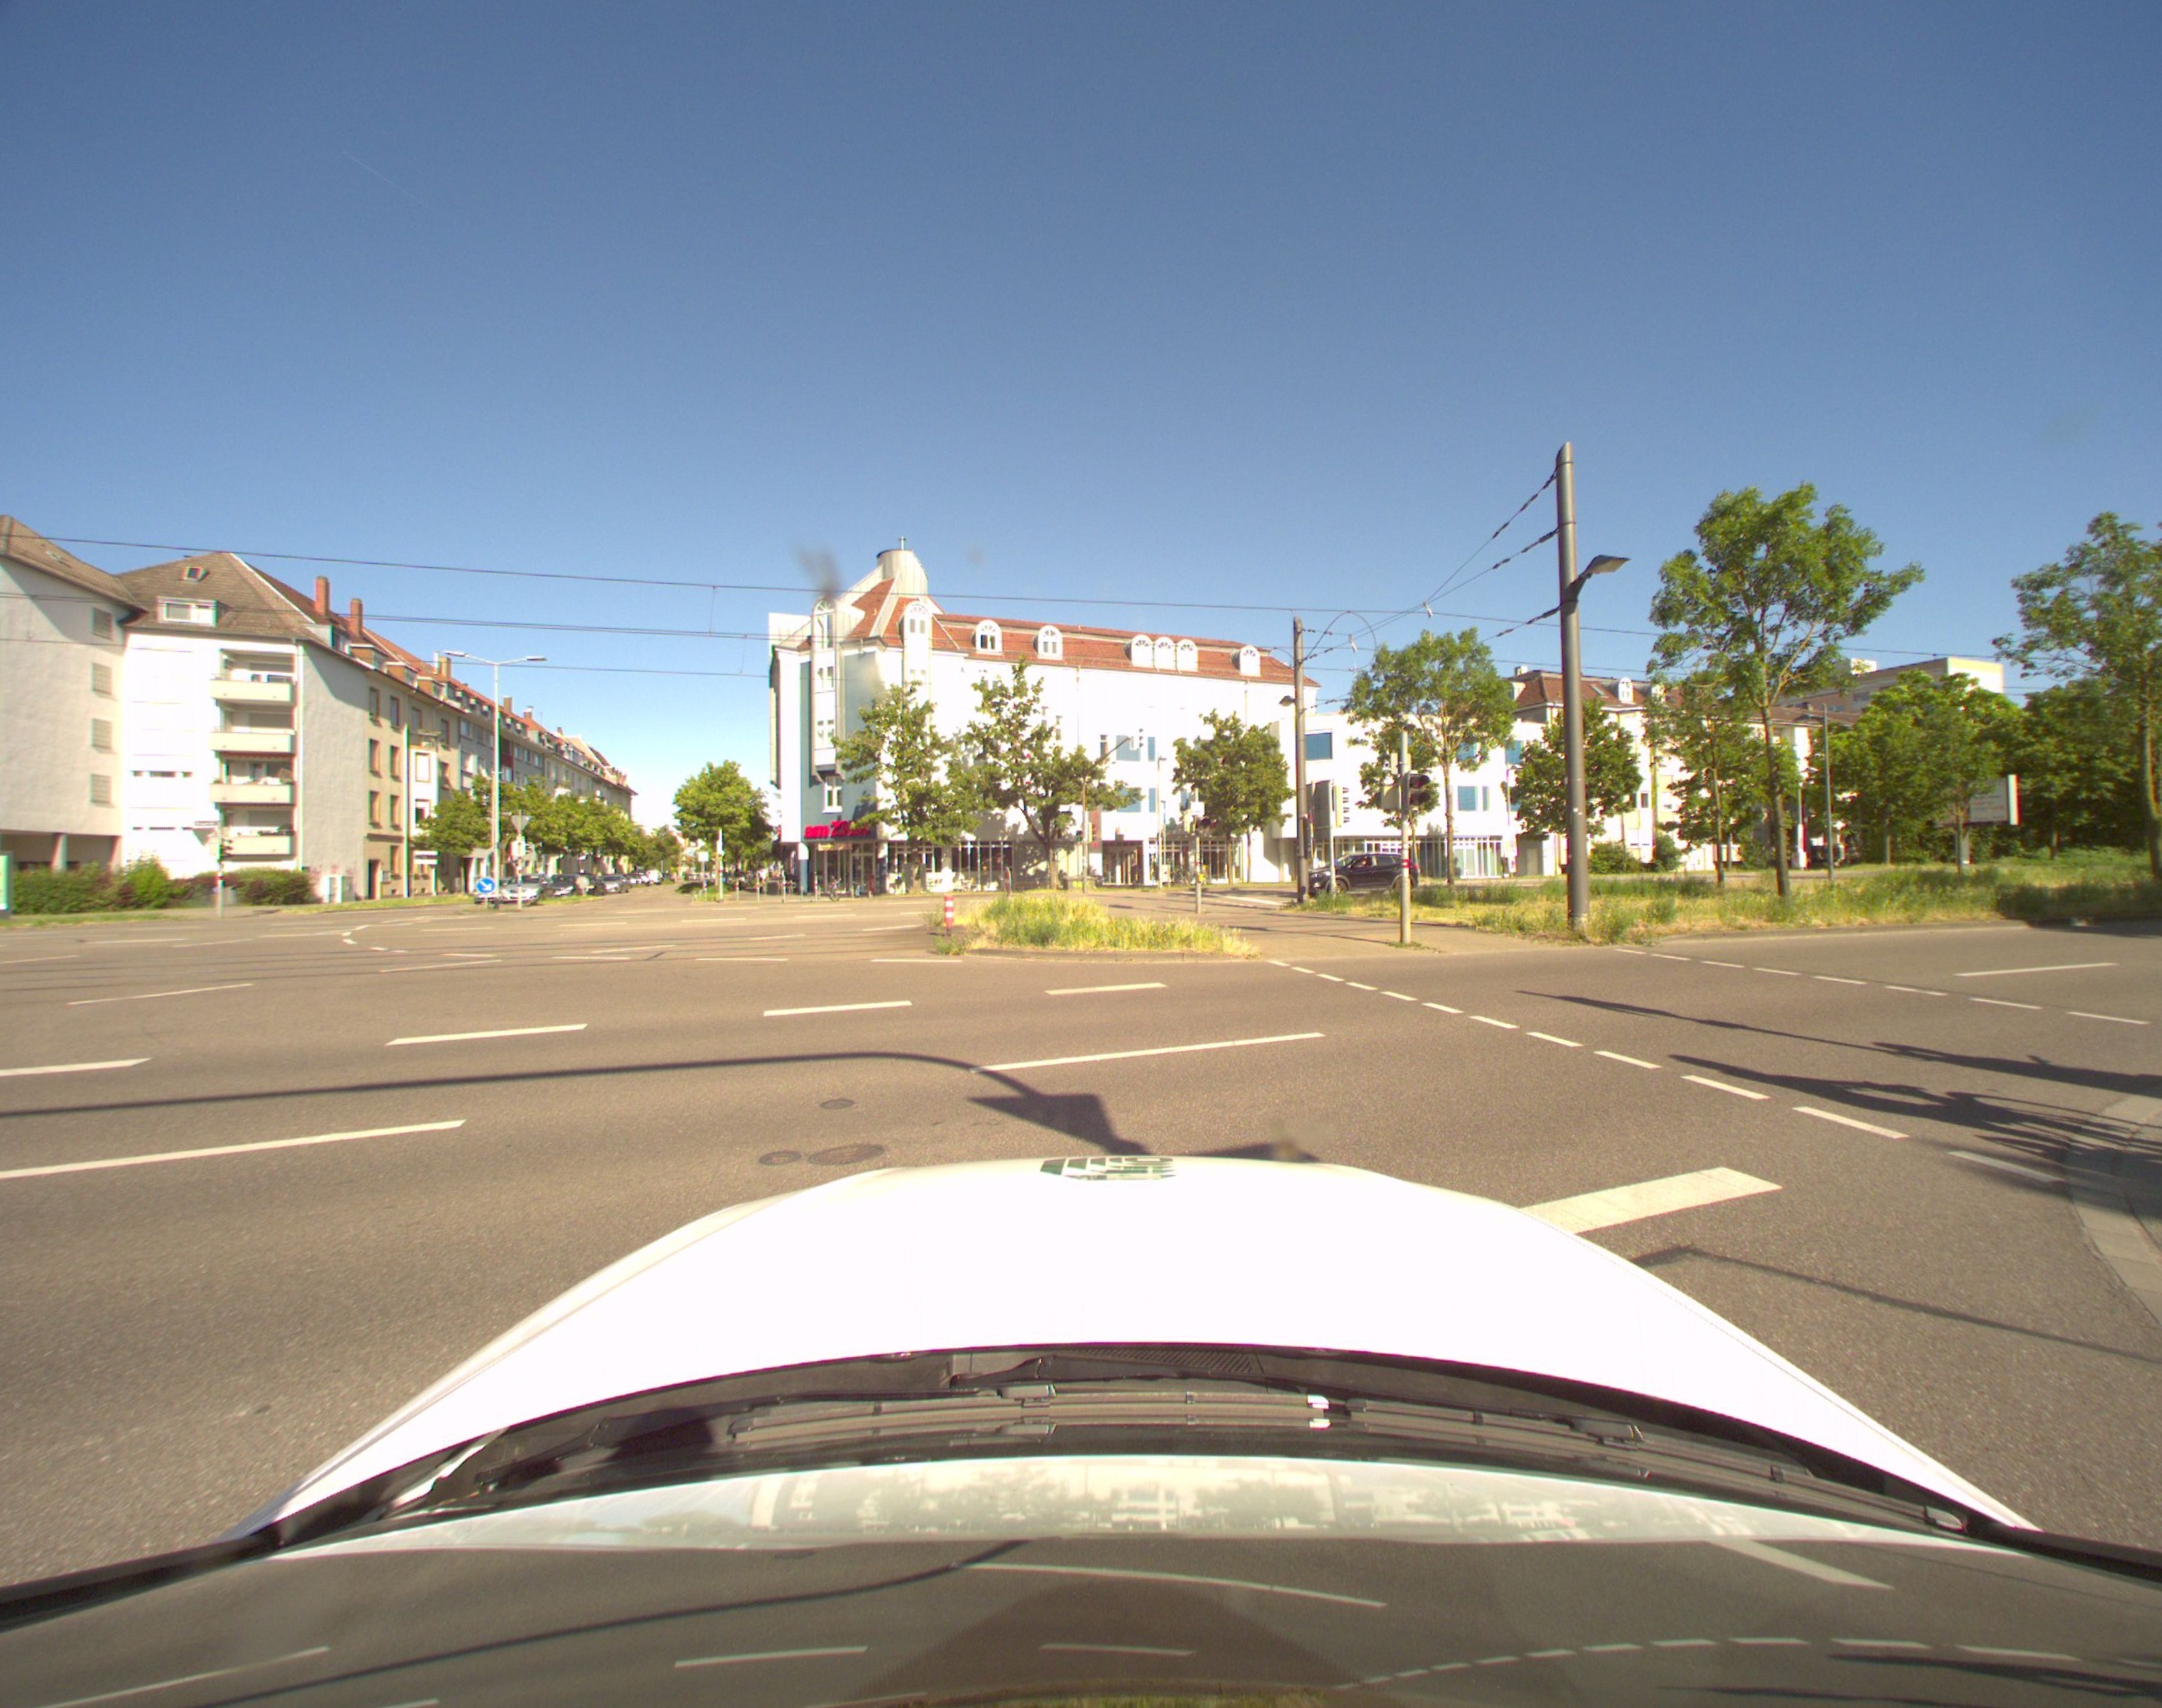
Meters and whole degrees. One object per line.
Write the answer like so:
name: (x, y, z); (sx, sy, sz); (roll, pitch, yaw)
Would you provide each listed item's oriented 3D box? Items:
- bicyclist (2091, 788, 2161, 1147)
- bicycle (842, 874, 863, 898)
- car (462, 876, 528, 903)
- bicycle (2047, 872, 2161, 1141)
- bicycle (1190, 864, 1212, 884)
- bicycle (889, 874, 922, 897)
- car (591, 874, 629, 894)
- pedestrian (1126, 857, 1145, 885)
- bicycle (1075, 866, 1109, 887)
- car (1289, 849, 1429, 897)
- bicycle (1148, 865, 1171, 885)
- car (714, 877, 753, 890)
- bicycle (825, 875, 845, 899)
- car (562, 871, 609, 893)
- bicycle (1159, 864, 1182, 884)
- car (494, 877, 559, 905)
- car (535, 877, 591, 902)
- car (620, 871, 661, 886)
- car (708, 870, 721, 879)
bicyclist: (5.767, 0.567, 3.794); (0.784, 1.824, 1.140); (-2, -1, 18)
bicycle: (-10.186, 1.431, 36.283); (0.475, 1.027, 1.500); (-1, -1, -32)
car: (-33.059, 2.003, 46.102); (1.692, 1.432, 4.373); (2, -2, -18)
bicycle: (5.736, 0.777, 3.652); (0.784, 1.348, 2.088); (-2, -1, 18)
bicycle: (7.406, 1.224, 50.328); (0.562, 1.182, 1.858); (-1, -1, -19)
bicycle: (-8.359, 1.491, 38.815); (1.511, 1.027, 0.471); (-1, -1, -10)
car: (-36.997, 2.344, 64.074); (1.693, 1.432, 4.371); (2, -2, -19)
pedestrian: (3.361, 1.048, 50.334); (0.993, 1.723, 0.649); (-1, -1, -22)
bicycle: (0.636, 1.289, 46.647); (1.872, 1.182, 0.557); (-1, -1, -25)
car: (10.263, 0.676, 30.186); (4.503, 1.609, 1.992); (-1, -1, -12)
bicycle: (4.765, 1.252, 49.446); (0.562, 1.182, 1.856); (-1, -1, -22)
car: (-35.307, 3.003, 82.723); (3.582, 1.223, 1.717); (0, -2, -23)
bicycle: (-10.735, 1.440, 35.524); (0.474, 1.027, 1.501); (-1, -1, -31)
car: (-33.922, 1.890, 55.899); (1.692, 1.432, 4.373); (2, -2, -18)
bicycle: (5.504, 1.229, 50.054); (0.562, 1.182, 1.856); (-1, -1, -22)
car: (-29.925, 1.976, 44.092); (1.692, 1.432, 4.372); (2, -2, -18)
car: (-31.862, 2.174, 50.242); (1.691, 1.432, 4.375); (2, -2, -16)
car: (-57.802, 3.218, 107.049); (4.524, 2.014, 1.984); (0, -2, -23)
car: (-72.671, 4.038, 161.540); (2.000, 1.756, 4.488); (0, -2, -20)
